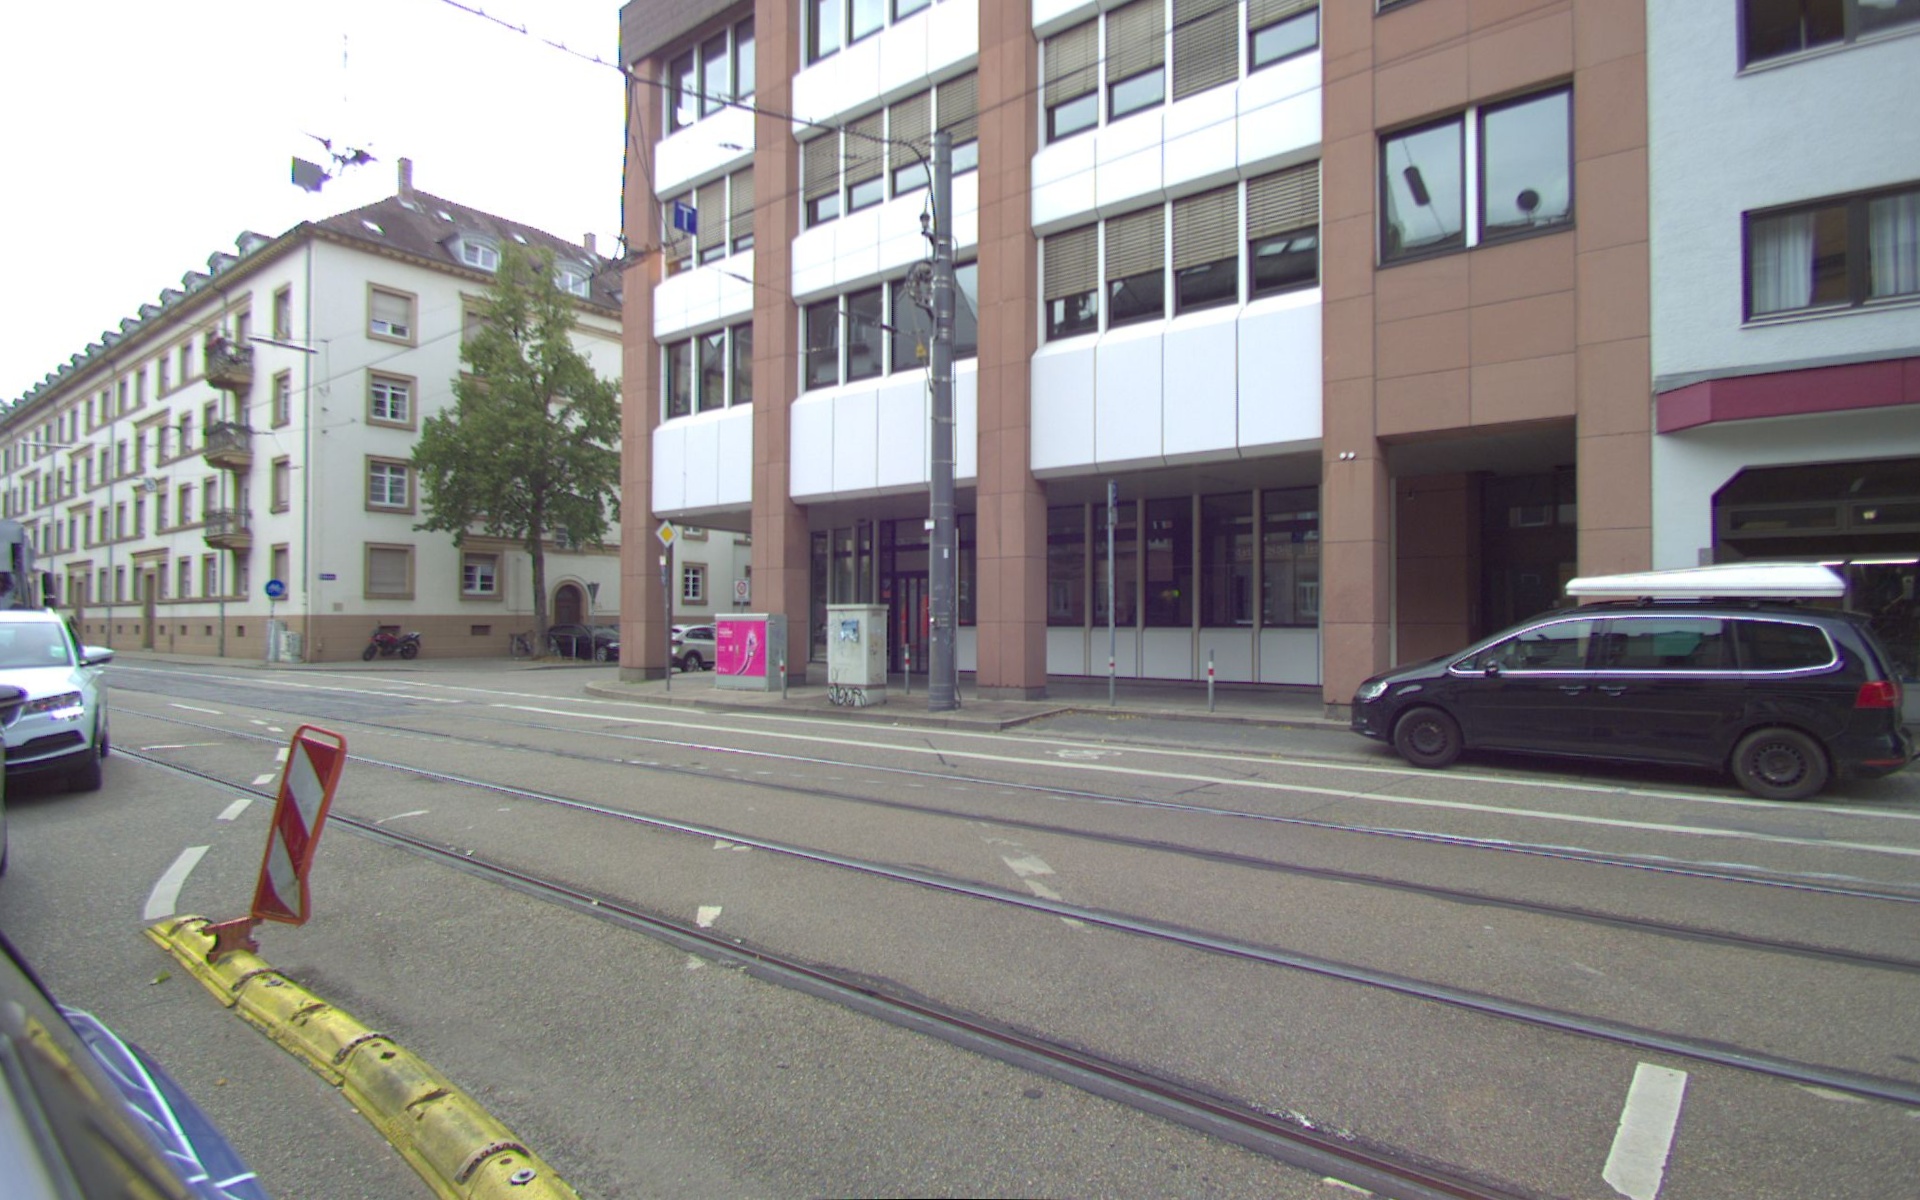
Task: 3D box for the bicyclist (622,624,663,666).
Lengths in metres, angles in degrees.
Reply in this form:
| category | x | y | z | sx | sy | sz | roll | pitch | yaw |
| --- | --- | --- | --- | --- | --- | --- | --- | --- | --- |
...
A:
| category | x | y | z | sx | sy | sz | roll | pitch | yaw |
| --- | --- | --- | --- | --- | --- | --- | --- | --- | --- |
| bicyclist | -11.211 | 1.588 | 35.734 | 1.241 | 1.473 | 0.678 | 1 | -3 | -43 |

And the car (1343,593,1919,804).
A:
| category | x | y | z | sx | sy | sz | roll | pitch | yaw |
| --- | --- | --- | --- | --- | --- | --- | --- | --- | --- |
| car | 6.563 | 0.834 | 10.223 | 4.694 | 1.659 | 1.789 | -2 | 0 | 40 |

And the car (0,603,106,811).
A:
| category | x | y | z | sx | sy | sz | roll | pitch | yaw |
| --- | --- | --- | --- | --- | --- | --- | --- | --- | --- |
| car | -9.148 | 0.880 | 9.205 | 4.284 | 1.603 | 1.749 | -2 | -1 | 45 |

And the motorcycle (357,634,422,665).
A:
| category | x | y | z | sx | sy | sz | roll | pitch | yaw |
| --- | --- | --- | --- | --- | --- | --- | --- | --- | --- |
| motorcycle | -20.889 | 1.795 | 37.073 | 0.792 | 1.094 | 1.900 | -2 | -2 | 39 |

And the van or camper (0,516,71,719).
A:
| category | x | y | z | sx | sy | sz | roll | pitch | yaw |
| --- | --- | --- | --- | --- | --- | --- | --- | --- | --- |
| van or camper | -20.304 | 0.385 | 19.967 | 9.642 | 3.447 | 2.575 | -2 | -2 | 39 |

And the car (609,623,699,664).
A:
| category | x | y | z | sx | sy | sz | roll | pitch | yaw |
| --- | --- | --- | --- | --- | --- | --- | --- | --- | --- |
| car | -12.253 | 1.705 | 40.423 | 3.711 | 1.559 | 1.591 | -1 | -2 | 38 |

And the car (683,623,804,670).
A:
| category | x | y | z | sx | sy | sz | roll | pitch | yaw |
| --- | --- | --- | --- | --- | --- | --- | --- | --- | --- |
| car | -7.985 | 1.666 | 37.502 | 3.985 | 1.549 | 1.777 | -1 | -1 | -40 |

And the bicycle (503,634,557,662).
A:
| category | x | y | z | sx | sy | sz | roll | pitch | yaw |
| --- | --- | --- | --- | --- | --- | --- | --- | --- | --- |
| bicycle | -17.562 | 1.945 | 41.378 | 0.792 | 1.094 | 1.900 | -2 | -2 | 39 |

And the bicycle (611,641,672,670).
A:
| category | x | y | z | sx | sy | sz | roll | pitch | yaw |
| --- | --- | --- | --- | --- | --- | --- | --- | --- | --- |
| bicycle | -11.227 | 1.953 | 35.703 | 1.982 | 0.972 | 0.673 | 1 | -3 | -44 |

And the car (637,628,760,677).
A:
| category | x | y | z | sx | sy | sz | roll | pitch | yaw |
| --- | --- | --- | --- | --- | --- | --- | --- | --- | --- |
| car | -7.944 | 1.577 | 31.032 | 1.606 | 1.399 | 3.611 | -1 | -2 | 31 |

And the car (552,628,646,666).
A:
| category | x | y | z | sx | sy | sz | roll | pitch | yaw |
| --- | --- | --- | --- | --- | --- | --- | --- | --- | --- |
| car | -13.802 | 1.768 | 38.626 | 3.869 | 1.407 | 1.591 | -1 | -2 | 38 |

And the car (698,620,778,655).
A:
| category | x | y | z | sx | sy | sz | roll | pitch | yaw |
| --- | --- | --- | --- | --- | --- | --- | --- | --- | --- |
| car | -9.847 | 1.649 | 44.773 | 3.520 | 1.473 | 1.572 | -1 | -2 | 38 |
